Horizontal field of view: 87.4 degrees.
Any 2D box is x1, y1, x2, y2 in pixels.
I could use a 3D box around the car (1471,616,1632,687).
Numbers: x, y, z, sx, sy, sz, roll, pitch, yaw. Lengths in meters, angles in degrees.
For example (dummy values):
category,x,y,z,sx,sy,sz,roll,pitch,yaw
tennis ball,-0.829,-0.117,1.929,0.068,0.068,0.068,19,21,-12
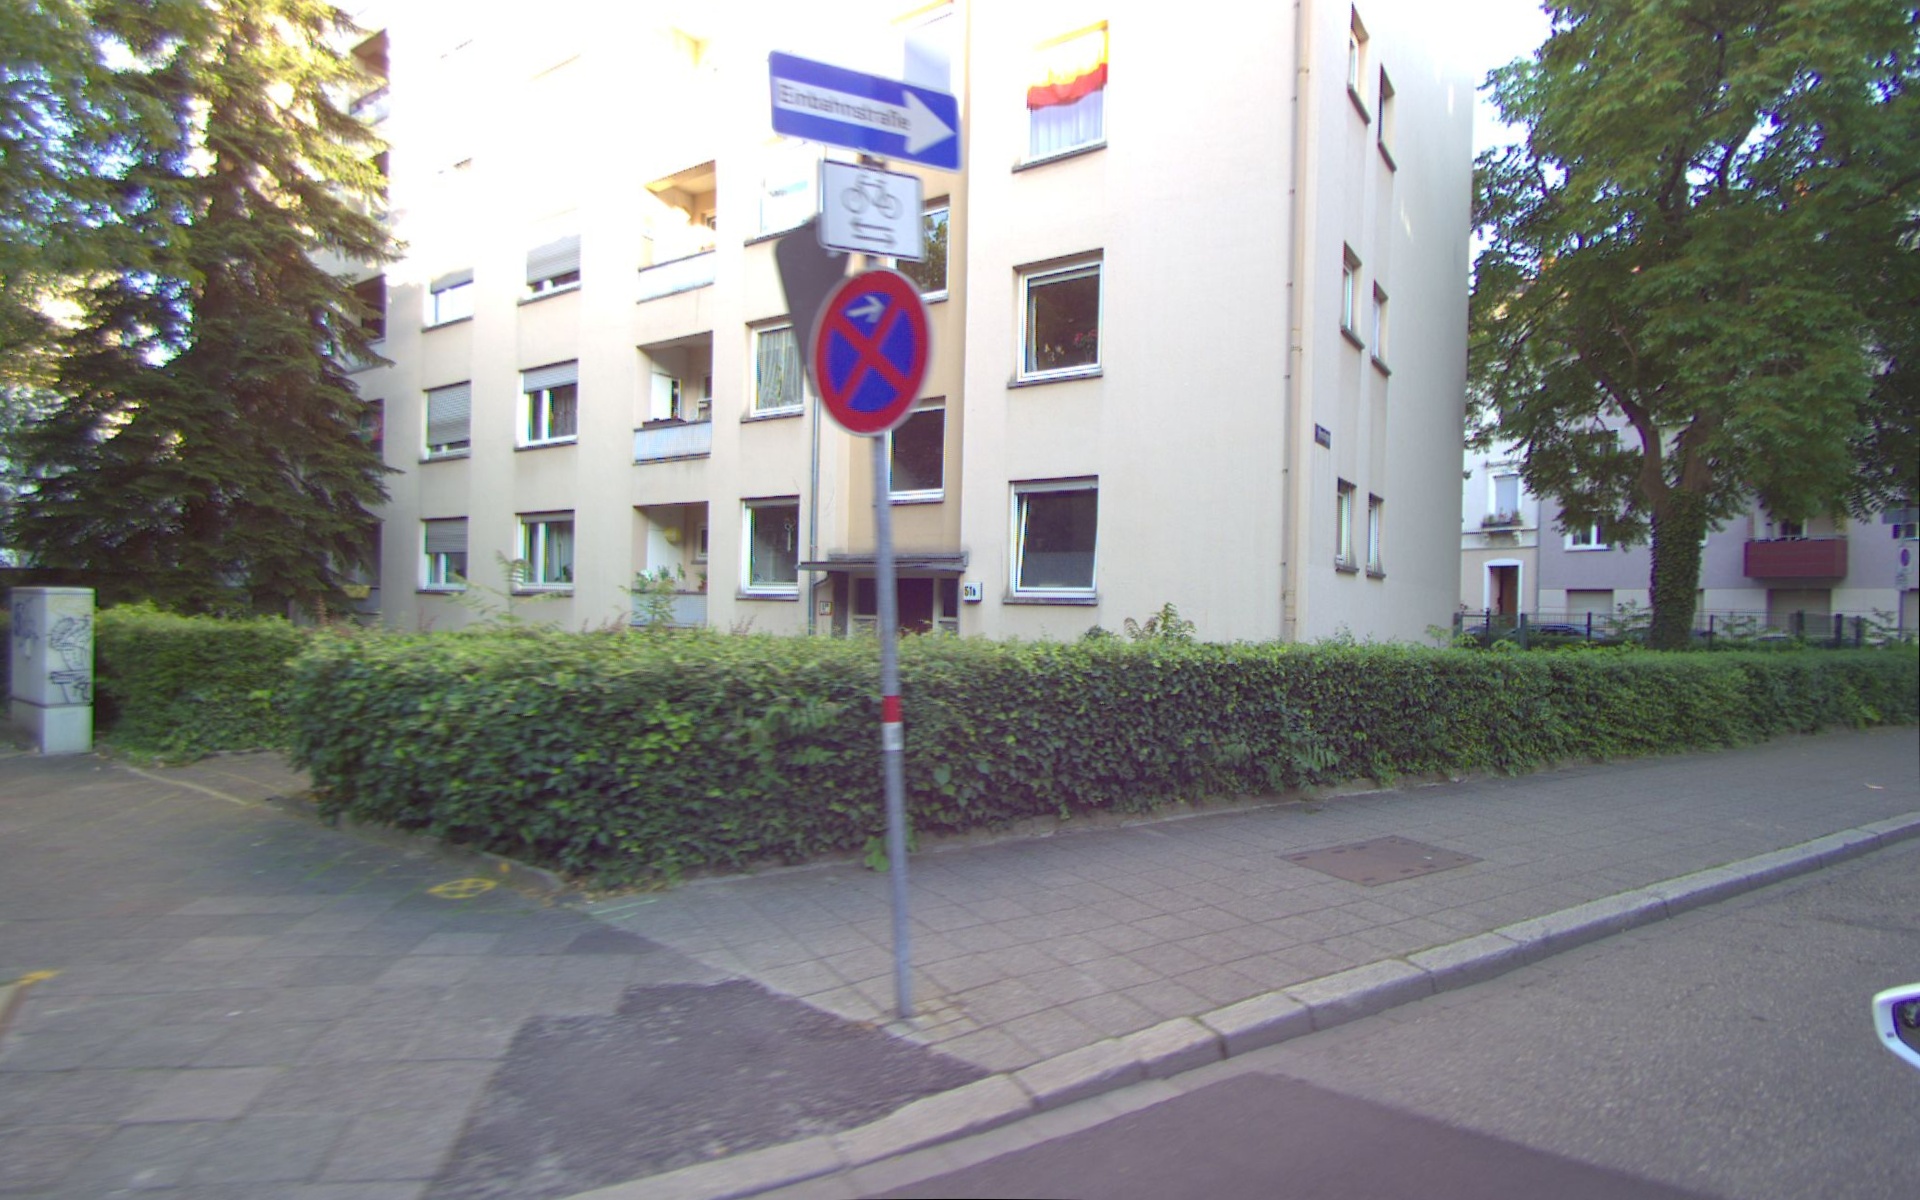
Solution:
category,x,y,z,sx,sy,sz,roll,pitch,yaw
car,16.823,1.404,28.673,1.866,1.780,3.498,0,1,-35
